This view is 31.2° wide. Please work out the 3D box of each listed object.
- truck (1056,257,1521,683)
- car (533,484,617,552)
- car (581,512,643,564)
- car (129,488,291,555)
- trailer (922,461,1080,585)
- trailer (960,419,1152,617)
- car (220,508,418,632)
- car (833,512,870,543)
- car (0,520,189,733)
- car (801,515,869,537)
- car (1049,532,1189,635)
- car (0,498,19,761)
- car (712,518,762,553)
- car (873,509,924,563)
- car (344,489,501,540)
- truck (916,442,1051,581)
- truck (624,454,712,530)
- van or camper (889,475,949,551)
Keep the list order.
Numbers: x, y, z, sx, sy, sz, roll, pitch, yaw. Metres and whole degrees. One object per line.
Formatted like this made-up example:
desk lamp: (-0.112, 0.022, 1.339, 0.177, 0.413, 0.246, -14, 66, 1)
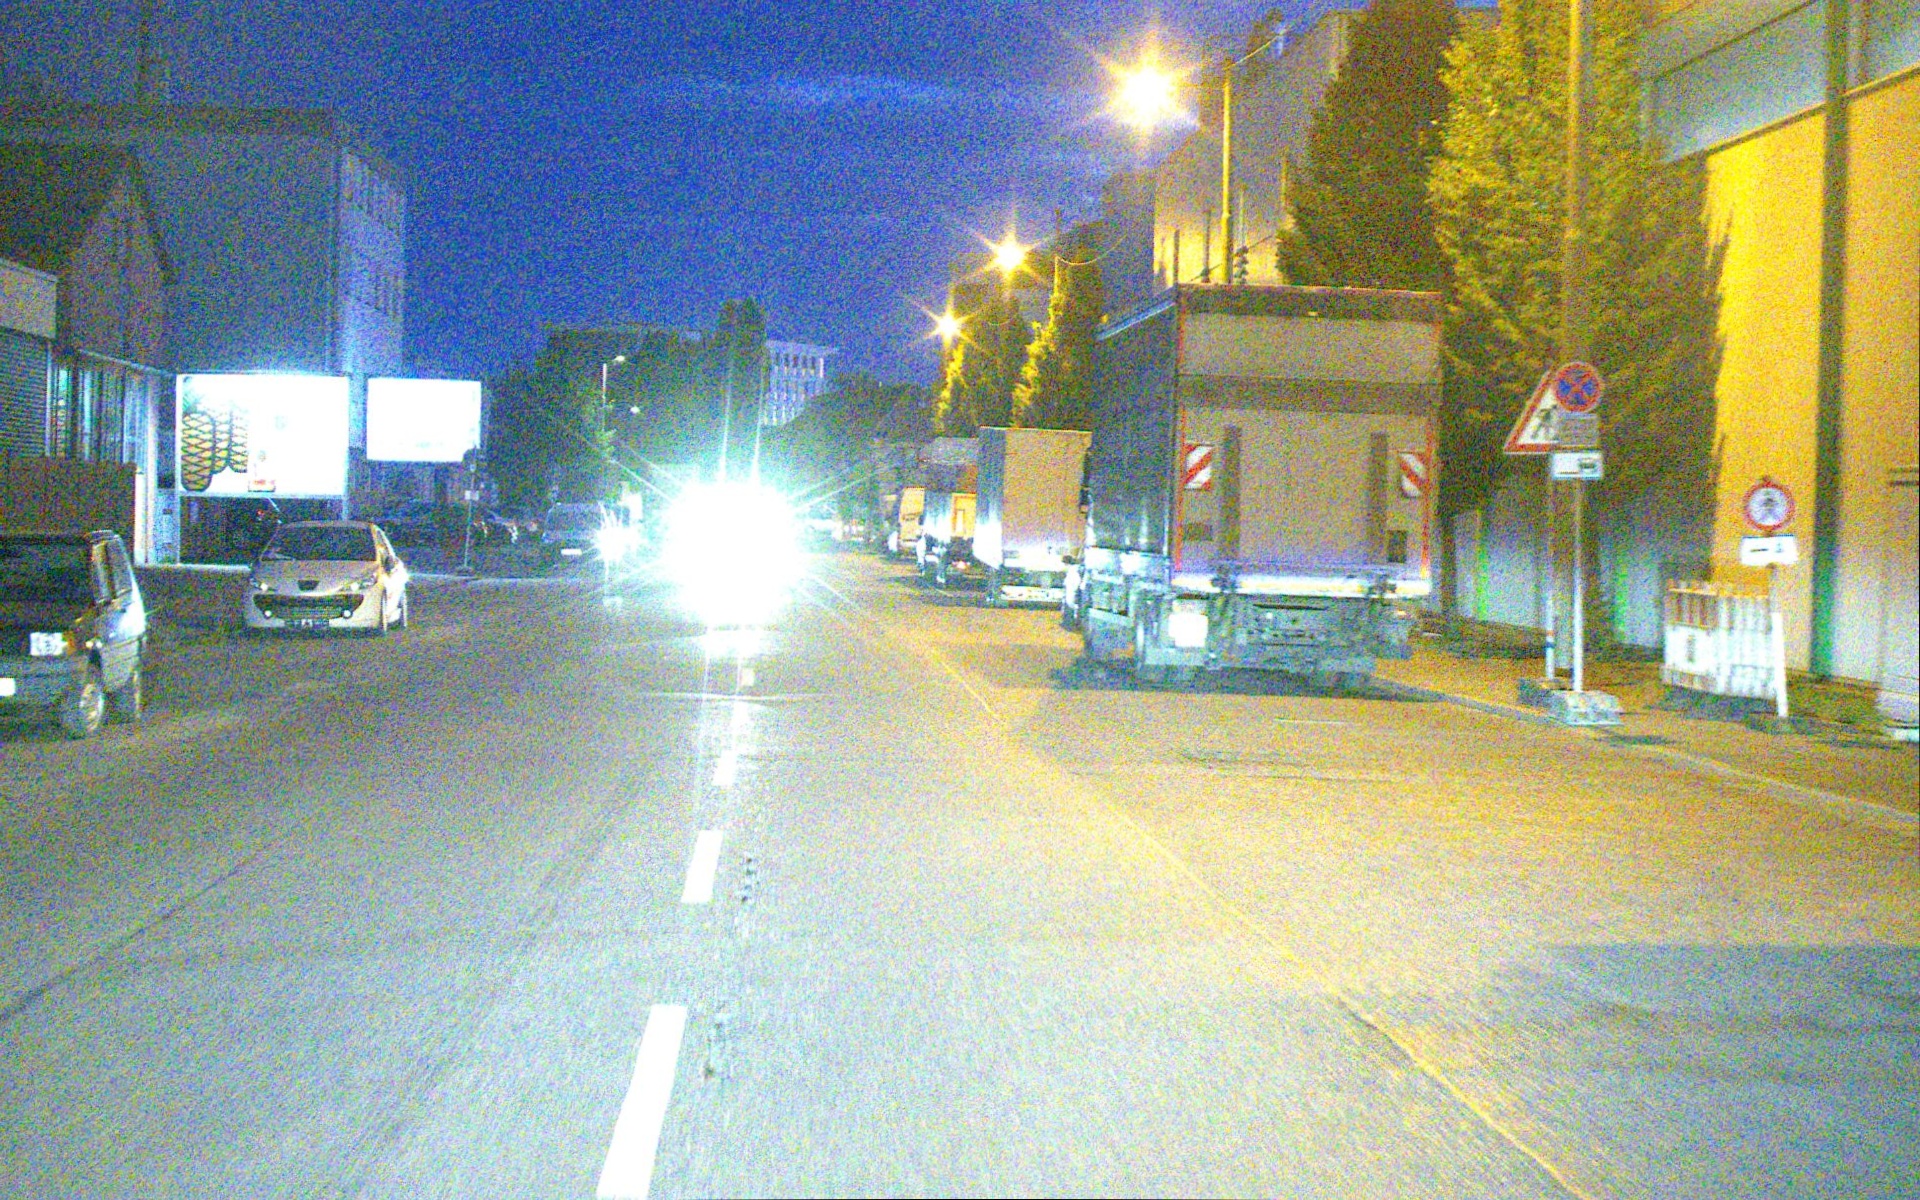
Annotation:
truck: (3.236, -1.280, 37.471, 3.520, 3.969, 10.343, 0, 1, -3)
car: (-10.656, -2.261, 95.375, 1.993, 1.787, 4.001, 2, 1, -2)
car: (-12.247, -2.195, 121.203, 1.897, 1.730, 4.356, 2, 1, -3)
car: (-20.083, -2.105, 92.190, 3.986, 1.645, 2.000, 2, 1, -5)
trailer: (0.855, -1.789, 82.065, 3.184, 2.739, 10.716, 0, 1, -2)
trailer: (1.735, -1.527, 65.761, 2.686, 3.452, 7.811, 2, 1, -5)
car: (-7.951, -0.402, 42.954, 1.841, 1.415, 4.001, 2, 1, -2)
car: (-6.133, -4.093, 193.689, 1.993, 1.678, 4.001, 2, 1, -2)
car: (-6.678, 0.128, 24.523, 1.601, 1.349, 4.001, 2, 1, -3)
car: (-8.649, -5.118, 238.163, 4.531, 1.375, 2.000, 2, 1, 1)
car: (2.421, -0.269, 53.102, 1.852, 1.514, 3.818, 0, 1, -2)
car: (-6.783, 0.178, 19.161, 1.993, 1.631, 4.775, 2, 1, -4)
car: (-9.382, -2.716, 144.842, 1.993, 1.393, 4.001, 2, 1, -2)
car: (-2.584, -2.669, 143.431, 1.993, 2.138, 4.001, 2, 1, -2)
car: (-17.472, -2.777, 111.768, 4.612, 1.480, 2.001, 1, 1, -25)
truck: (0.541, -2.241, 89.195, 3.151, 3.451, 6.674, 0, 1, -2)
truck: (-14.712, -5.401, 172.533, 3.889, 3.609, 8.262, 2, 1, -8)
van or camper: (-1.489, -3.106, 123.042, 1.993, 2.573, 4.915, 2, 1, -2)
